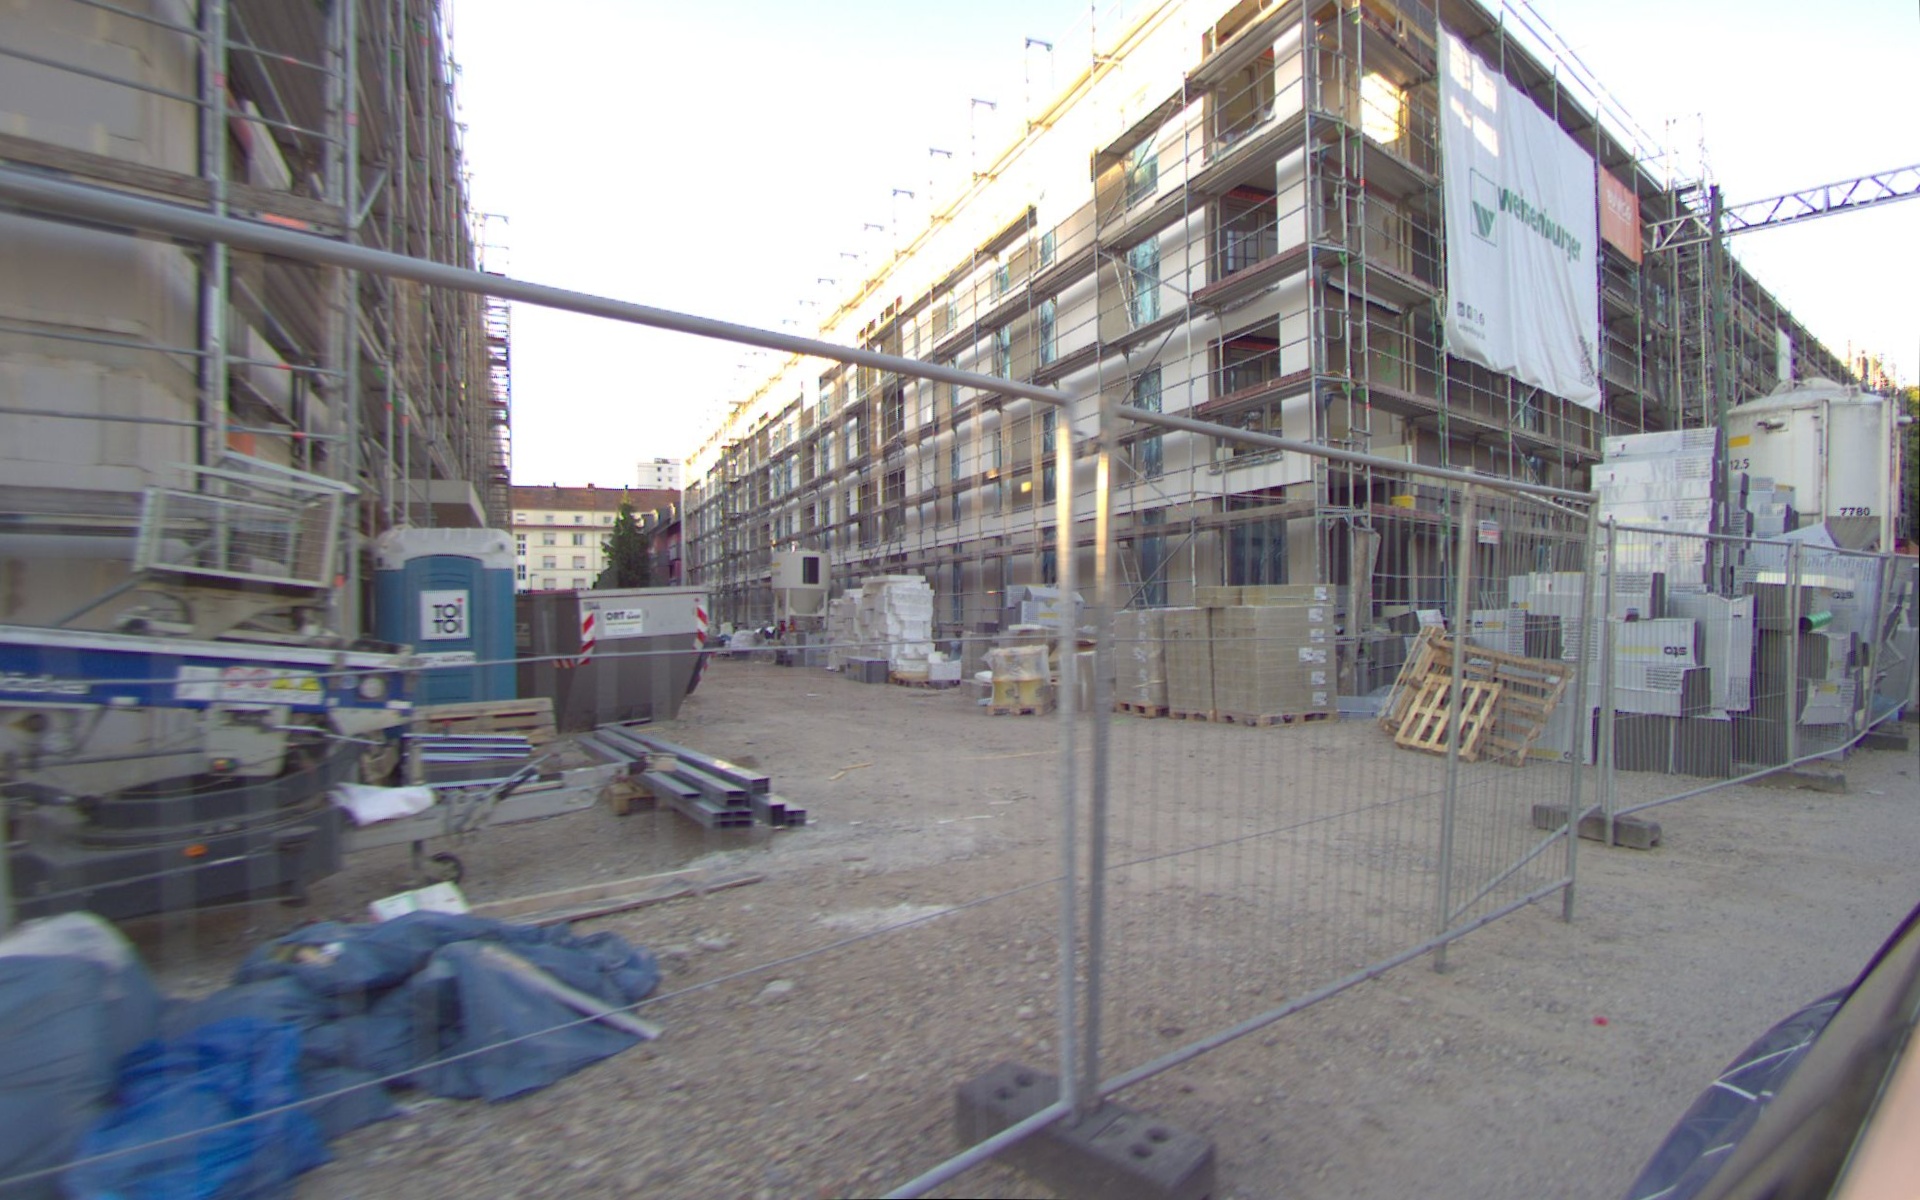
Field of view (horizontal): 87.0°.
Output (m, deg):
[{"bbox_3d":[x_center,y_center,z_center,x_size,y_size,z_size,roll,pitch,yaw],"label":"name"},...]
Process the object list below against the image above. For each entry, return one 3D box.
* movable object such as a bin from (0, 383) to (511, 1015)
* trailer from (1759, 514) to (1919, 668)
[{"bbox_3d":[-5.954,0.372,3.014,8.217,2.302,2.069,0,0,-39],"label":"movable object such as a bin"},{"bbox_3d":[19.783,-0.189,22.306,6.133,2.949,2.576,0,0,-44],"label":"trailer"}]
